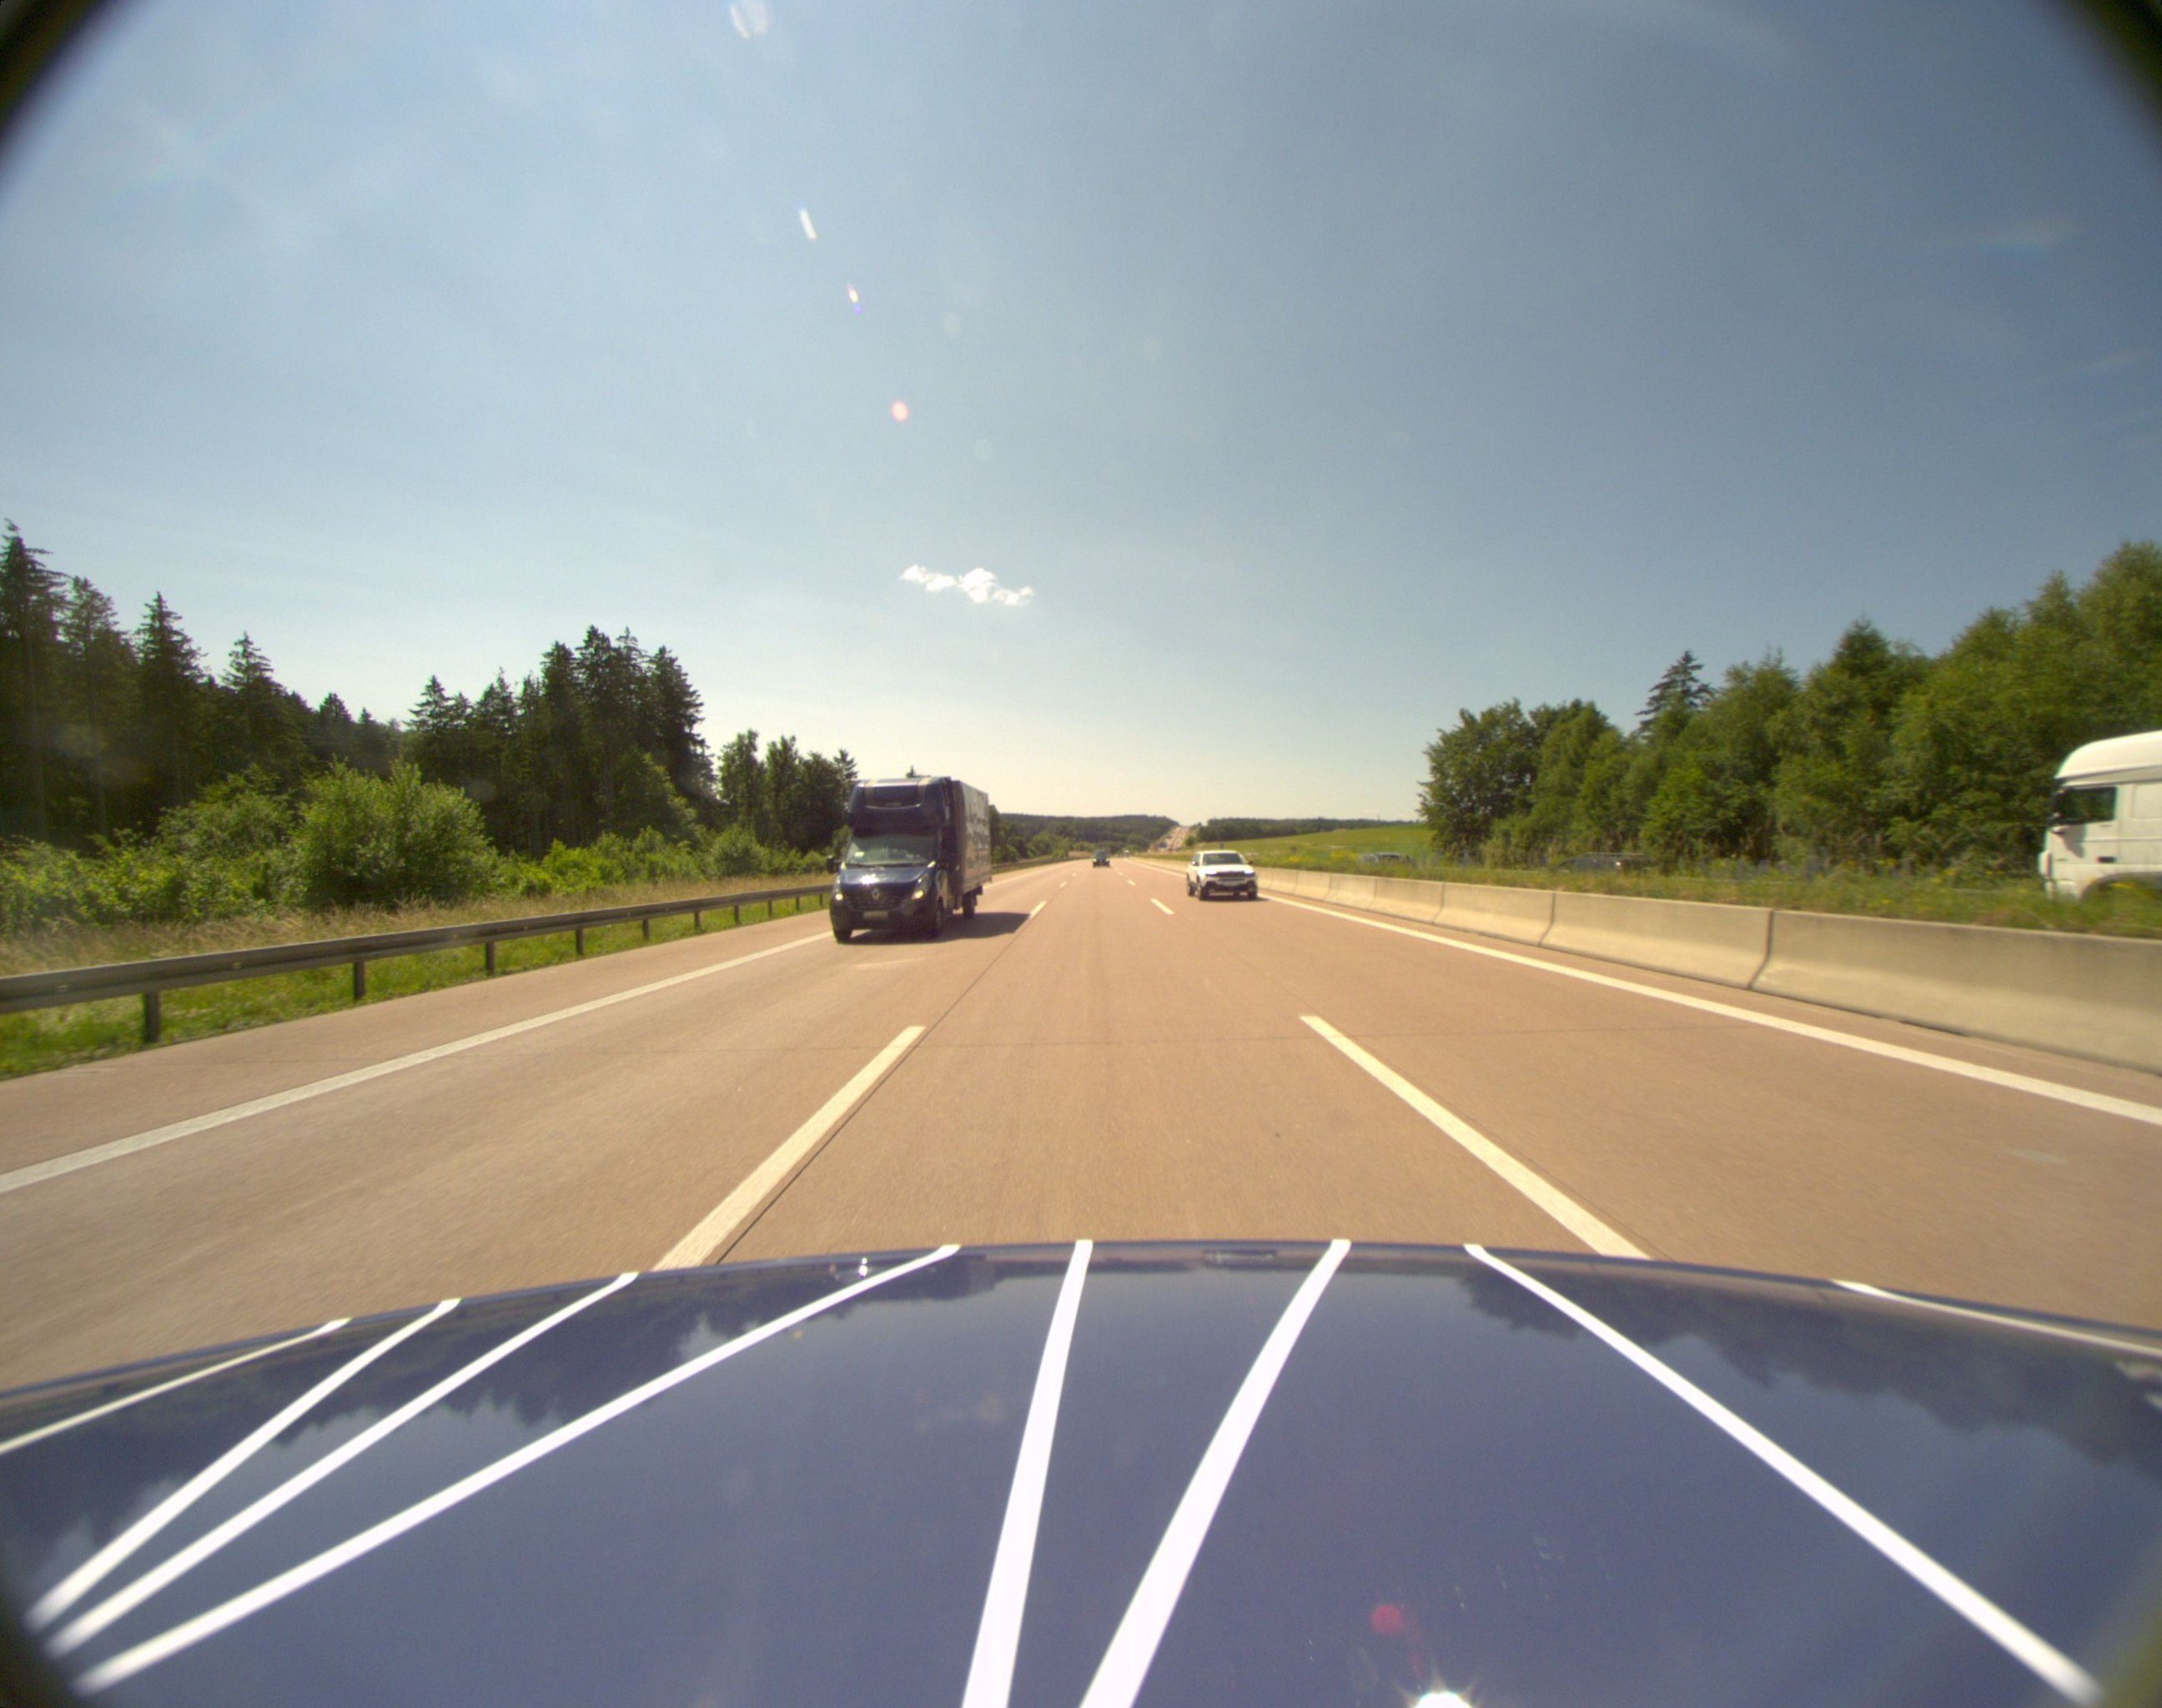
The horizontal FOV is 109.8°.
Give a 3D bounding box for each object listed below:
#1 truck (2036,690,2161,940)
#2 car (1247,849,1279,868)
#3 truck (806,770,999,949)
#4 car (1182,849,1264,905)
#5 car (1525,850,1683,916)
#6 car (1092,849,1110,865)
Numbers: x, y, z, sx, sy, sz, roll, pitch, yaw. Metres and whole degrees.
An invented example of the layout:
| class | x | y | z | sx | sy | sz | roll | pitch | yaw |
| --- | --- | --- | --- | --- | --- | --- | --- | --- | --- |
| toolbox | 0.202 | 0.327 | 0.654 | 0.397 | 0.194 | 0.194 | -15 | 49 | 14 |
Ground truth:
| class | x | y | z | sx | sy | sz | roll | pitch | yaw |
| --- | --- | --- | --- | --- | --- | --- | --- | --- | --- |
| truck | 20.098 | -0.695 | 11.725 | 2.709 | 4.355 | 6.478 | -1 | 0 | 2 |
| car | 18.281 | 0.427 | 76.496 | 1.896 | 1.852 | 5.102 | -1 | 0 | -1 |
| truck | -3.668 | 0.092 | 17.705 | 2.508 | 3.200 | 7.784 | -1 | 0 | 1 |
| car | 4.500 | 0.661 | 24.818 | 1.883 | 1.598 | 4.834 | -1 | 0 | 2 |
| car | 15.451 | 0.777 | 22.758 | 1.998 | 1.718 | 4.000 | -2 | 1 | 1 |
| car | 2.346 | 0.326 | 87.706 | 1.998 | 1.805 | 4.564 | -1 | 0 | 2 |
